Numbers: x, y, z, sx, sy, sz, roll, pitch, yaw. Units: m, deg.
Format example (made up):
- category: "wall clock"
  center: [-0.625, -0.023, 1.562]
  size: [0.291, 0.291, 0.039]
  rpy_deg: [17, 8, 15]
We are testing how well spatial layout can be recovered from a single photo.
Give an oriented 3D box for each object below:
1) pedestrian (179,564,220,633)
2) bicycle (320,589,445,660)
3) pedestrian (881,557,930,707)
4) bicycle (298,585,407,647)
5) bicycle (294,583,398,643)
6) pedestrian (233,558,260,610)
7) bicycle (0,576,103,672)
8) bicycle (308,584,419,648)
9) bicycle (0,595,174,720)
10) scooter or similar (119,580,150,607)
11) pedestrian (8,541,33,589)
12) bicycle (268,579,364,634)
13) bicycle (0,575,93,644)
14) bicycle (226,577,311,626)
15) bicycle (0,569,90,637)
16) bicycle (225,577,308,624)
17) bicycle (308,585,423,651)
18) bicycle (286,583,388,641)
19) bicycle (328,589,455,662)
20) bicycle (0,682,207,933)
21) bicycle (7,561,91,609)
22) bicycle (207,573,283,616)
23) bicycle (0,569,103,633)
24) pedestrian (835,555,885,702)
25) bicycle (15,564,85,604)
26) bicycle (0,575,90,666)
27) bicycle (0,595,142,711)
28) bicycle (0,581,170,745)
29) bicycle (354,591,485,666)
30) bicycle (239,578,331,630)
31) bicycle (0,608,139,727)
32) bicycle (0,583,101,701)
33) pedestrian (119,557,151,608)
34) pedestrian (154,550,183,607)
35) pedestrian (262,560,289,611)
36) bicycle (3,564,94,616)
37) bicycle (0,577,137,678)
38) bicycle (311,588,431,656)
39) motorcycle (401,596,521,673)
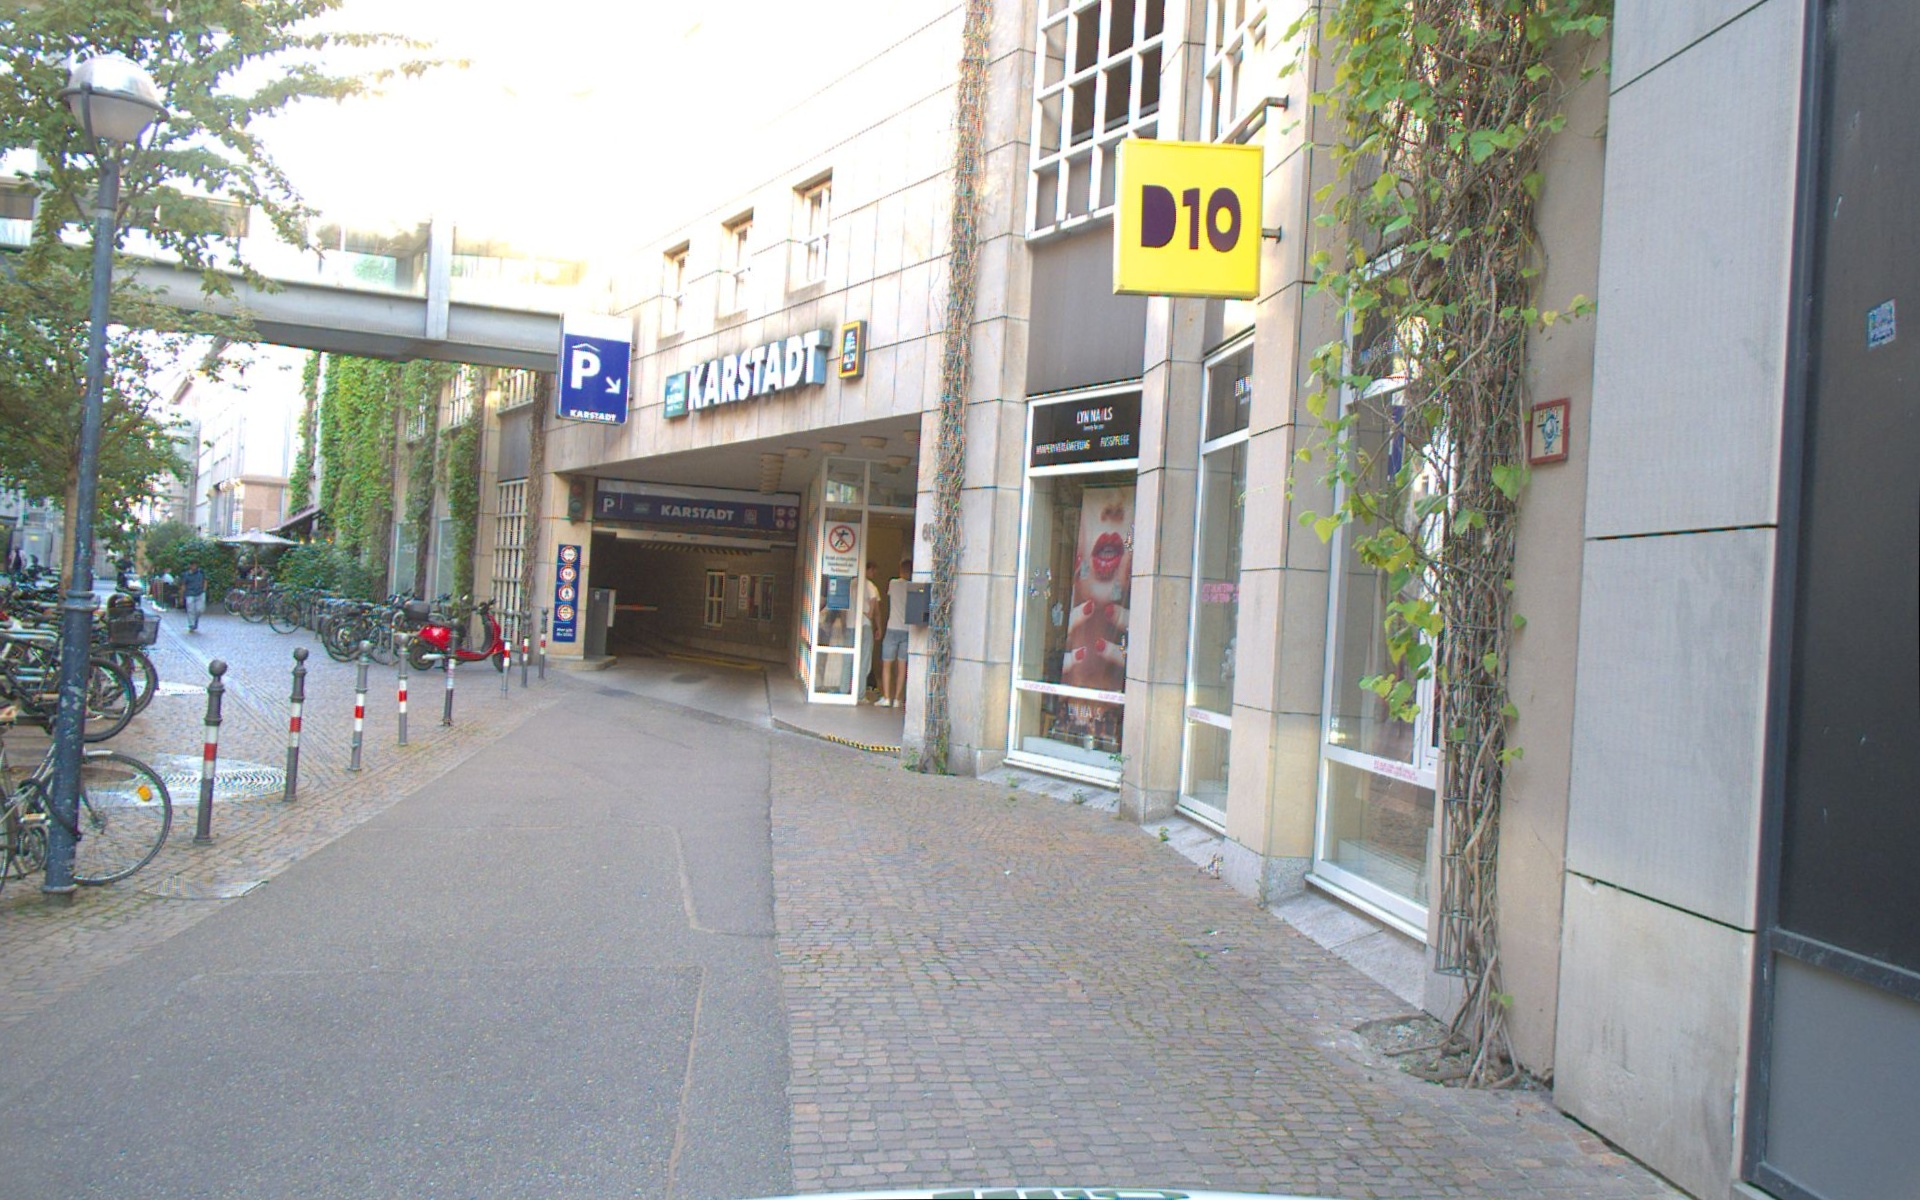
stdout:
- category: "pedestrian"
  center: [-17.285, -0.038, 37.600]
  size: [0.739, 1.536, 0.632]
  rpy_deg: [3, 0, -29]
- category: "bicycle"
  center: [-10.122, 0.436, 29.008]
  size: [1.970, 1.203, 0.796]
  rpy_deg: [1, 1, -27]
- category: "pedestrian"
  center: [-0.702, 0.402, 21.360]
  size: [0.531, 1.894, 0.408]
  rpy_deg: [3, 0, -1]
- category: "bicycle"
  center: [-12.202, 0.328, 33.218]
  size: [1.970, 1.203, 0.688]
  rpy_deg: [1, 0, -27]
- category: "bicycle"
  center: [-12.763, 0.263, 34.388]
  size: [1.970, 1.203, 0.688]
  rpy_deg: [1, 0, -27]
- category: "pedestrian"
  center: [-25.864, -0.579, 59.982]
  size: [0.766, 1.836, 0.760]
  rpy_deg: [2, 0, -29]
- category: "bicycle"
  center: [-12.459, 0.305, 21.881]
  size: [1.888, 1.203, 0.691]
  rpy_deg: [3, 0, -25]
- category: "bicycle"
  center: [-11.678, 0.321, 32.399]
  size: [1.970, 1.203, 0.688]
  rpy_deg: [1, 0, -27]
- category: "bicycle"
  center: [-8.601, 0.547, 15.834]
  size: [1.890, 1.121, 0.690]
  rpy_deg: [3, 0, -28]
- category: "scooter or similar"
  center: [-27.386, -0.213, 54.859]
  size: [0.881, 0.858, 0.903]
  rpy_deg: [3, 0, -29]
- category: "pedestrian"
  center: [-36.896, -1.384, 64.963]
  size: [0.766, 1.836, 0.628]
  rpy_deg: [3, 0, -29]
- category: "bicycle"
  center: [-14.643, 0.153, 37.593]
  size: [1.970, 1.203, 0.688]
  rpy_deg: [1, 0, -27]
- category: "bicycle"
  center: [-17.236, 0.174, 30.740]
  size: [1.888, 1.203, 0.691]
  rpy_deg: [3, 0, -25]
- category: "bicycle"
  center: [-17.915, 0.040, 42.857]
  size: [1.970, 1.203, 0.688]
  rpy_deg: [1, 0, -27]
- category: "bicycle"
  center: [-17.682, 0.051, 31.493]
  size: [1.888, 1.203, 0.691]
  rpy_deg: [3, 0, -25]
- category: "bicycle"
  center: [-18.281, 0.008, 43.624]
  size: [1.970, 1.203, 0.688]
  rpy_deg: [1, 0, -27]
- category: "bicycle"
  center: [-11.305, 0.347, 31.455]
  size: [1.970, 1.203, 0.796]
  rpy_deg: [1, 1, -27]
- category: "bicycle"
  center: [-13.328, 0.259, 35.393]
  size: [1.970, 1.203, 0.688]
  rpy_deg: [1, 0, -27]
- category: "bicycle"
  center: [-9.684, 0.440, 28.179]
  size: [1.970, 1.203, 0.690]
  rpy_deg: [1, 0, -27]
- category: "bicycle"
  center: [-4.244, 0.922, 7.679]
  size: [0.494, 0.983, 1.696]
  rpy_deg: [2, 0, 8]
- category: "bicycle"
  center: [-24.969, -0.418, 45.356]
  size: [1.888, 1.203, 0.691]
  rpy_deg: [3, 0, -25]
- category: "bicycle"
  center: [-20.666, -0.164, 47.824]
  size: [1.970, 1.203, 0.688]
  rpy_deg: [1, 0, -27]
- category: "bicycle"
  center: [-18.849, 0.022, 34.195]
  size: [1.888, 1.203, 0.691]
  rpy_deg: [3, 0, -25]
- category: "pedestrian"
  center: [-1.303, 0.365, 21.517]
  size: [0.531, 1.878, 0.408]
  rpy_deg: [3, 0, -1]
- category: "bicycle"
  center: [-29.898, -0.529, 54.360]
  size: [1.888, 1.203, 0.691]
  rpy_deg: [3, 0, -25]
- category: "bicycle"
  center: [-13.137, 0.265, 22.839]
  size: [1.888, 1.203, 0.691]
  rpy_deg: [3, 0, -25]
- category: "bicycle"
  center: [-9.461, 0.529, 16.914]
  size: [1.888, 1.121, 0.691]
  rpy_deg: [3, 0, -25]
- category: "bicycle"
  center: [-7.593, 0.506, 13.621]
  size: [1.890, 1.283, 0.801]
  rpy_deg: [3, 0, -28]
- category: "bicycle"
  center: [-8.954, 0.476, 27.412]
  size: [1.970, 1.203, 0.690]
  rpy_deg: [1, 0, -27]
- category: "bicycle"
  center: [-16.011, 0.100, 39.237]
  size: [1.970, 1.203, 0.688]
  rpy_deg: [1, 0, -27]
- category: "bicycle"
  center: [-8.492, 0.598, 14.923]
  size: [1.890, 1.011, 0.690]
  rpy_deg: [3, 0, -28]
- category: "bicycle"
  center: [-10.315, 0.427, 17.705]
  size: [1.888, 1.203, 0.691]
  rpy_deg: [3, 0, -25]
- category: "pedestrian"
  center: [-27.782, -0.585, 55.672]
  size: [0.881, 1.668, 0.903]
  rpy_deg: [3, 0, -29]
- category: "pedestrian"
  center: [-26.488, -0.717, 55.344]
  size: [0.756, 1.836, 0.770]
  rpy_deg: [3, 0, -29]
- category: "pedestrian"
  center: [-24.882, -0.525, 60.154]
  size: [0.766, 1.836, 0.760]
  rpy_deg: [2, 0, -29]
- category: "bicycle"
  center: [-22.901, -0.247, 41.571]
  size: [1.888, 1.203, 0.691]
  rpy_deg: [3, 0, -25]
- category: "bicycle"
  center: [-11.675, 0.348, 21.243]
  size: [1.888, 1.203, 0.691]
  rpy_deg: [3, 0, -25]
- category: "bicycle"
  center: [-10.701, 0.401, 30.071]
  size: [1.970, 1.203, 0.796]
  rpy_deg: [1, 1, -27]
- category: "motorcycle"
  center: [-7.808, 0.543, 25.879]
  size: [1.723, 1.175, 0.590]
  rpy_deg: [1, 0, -25]
